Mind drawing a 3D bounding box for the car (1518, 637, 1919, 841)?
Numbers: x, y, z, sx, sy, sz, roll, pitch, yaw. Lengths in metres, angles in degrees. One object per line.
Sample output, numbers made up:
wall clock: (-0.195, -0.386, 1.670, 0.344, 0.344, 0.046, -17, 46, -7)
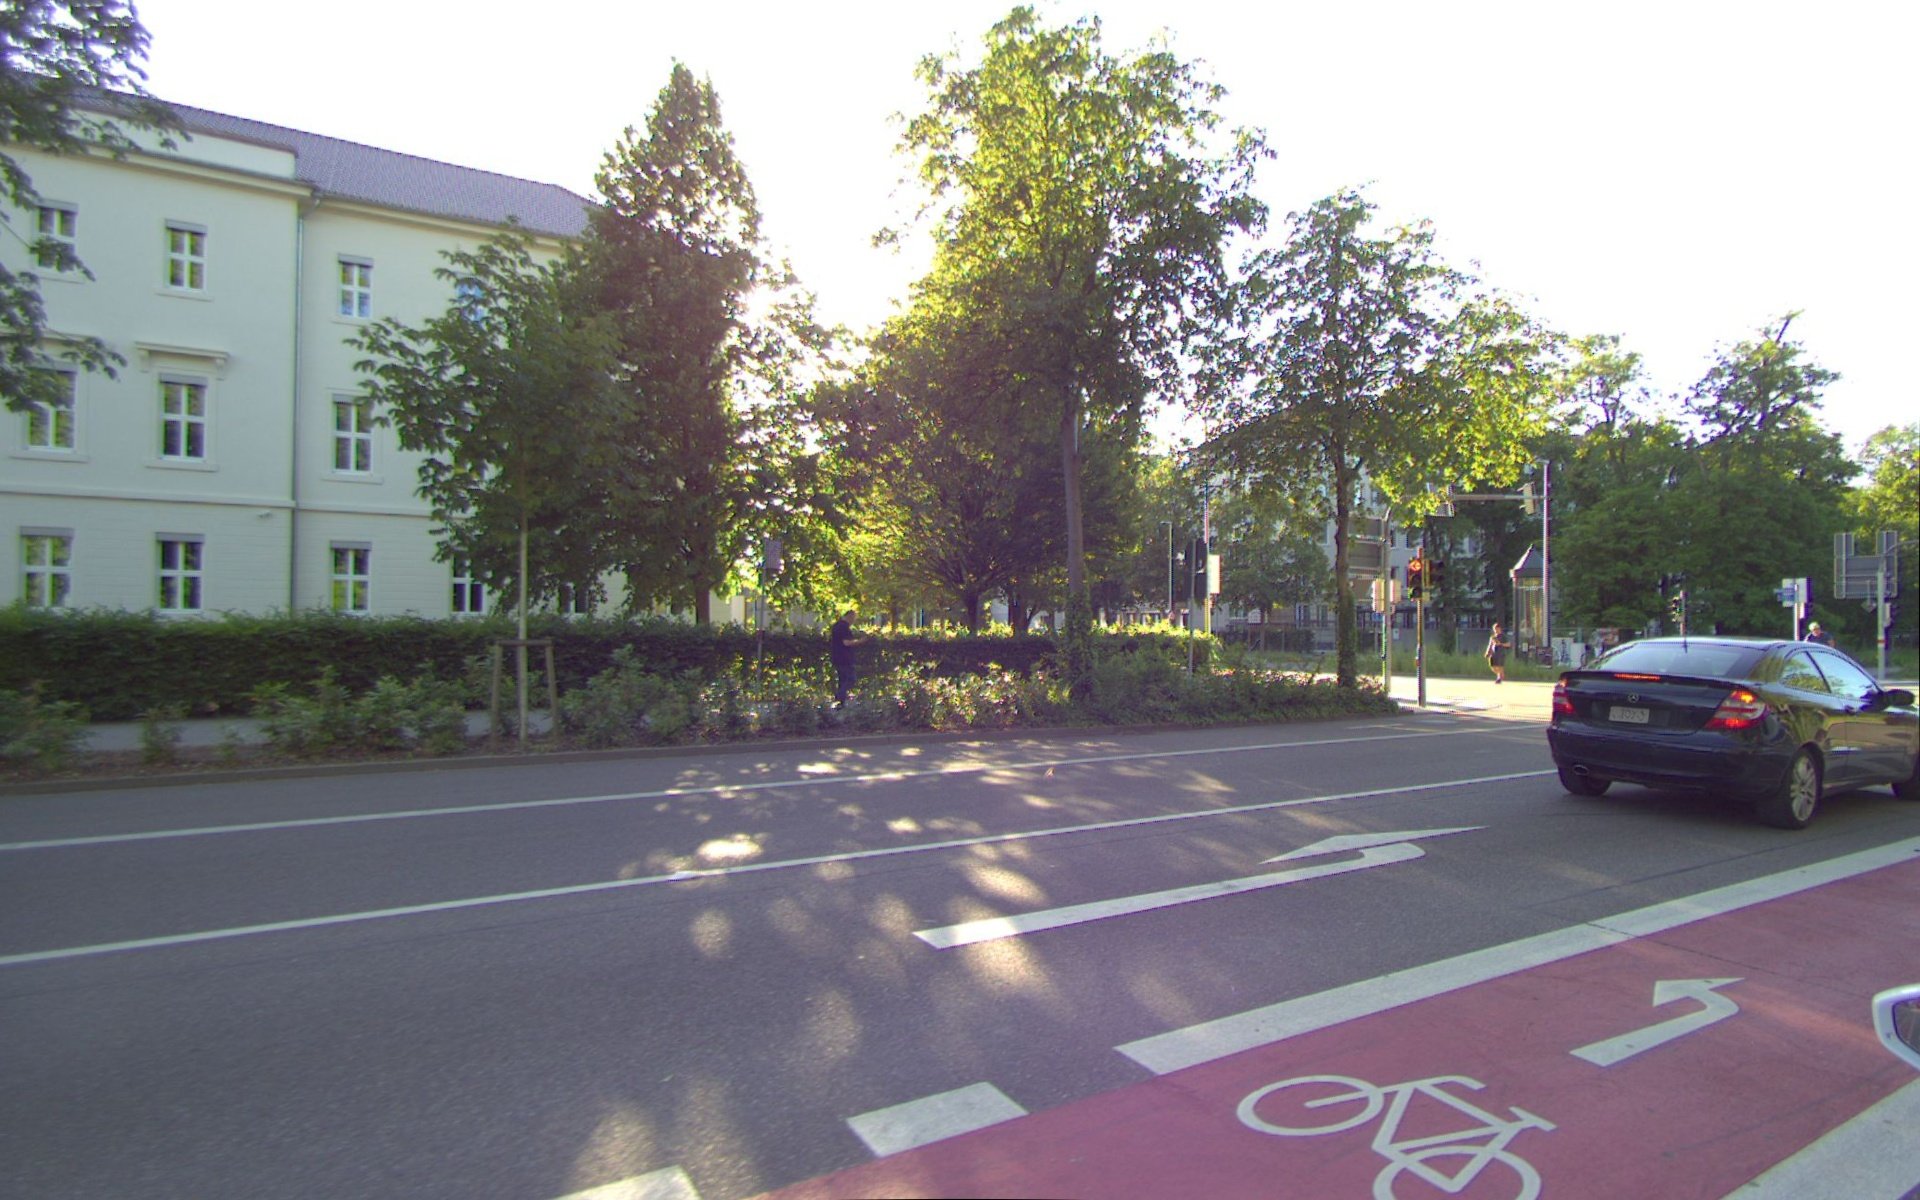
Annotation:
car: (6.981, 1.048, 8.862, 4.214, 1.423, 1.697, 1, -2, -30)

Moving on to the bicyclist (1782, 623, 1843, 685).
bicyclist: (23.013, 1.458, 27.118, 1.173, 1.629, 0.872, 1, -2, -28)

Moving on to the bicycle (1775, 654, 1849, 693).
bicycle: (22.985, 1.965, 27.083, 2.472, 1.002, 0.661, 1, -2, -28)

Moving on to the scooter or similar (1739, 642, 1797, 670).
scooter or similar: (35.241, 2.422, 43.826, 1.882, 1.139, 0.713, 1, -1, 3)

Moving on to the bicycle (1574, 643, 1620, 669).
bicycle: (30.247, 2.641, 47.702, 0.288, 1.163, 1.849, 2, -1, -36)

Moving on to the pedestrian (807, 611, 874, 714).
pedestrian: (-2.108, 1.089, 17.686, 0.956, 1.743, 0.831, 1, -2, -28)

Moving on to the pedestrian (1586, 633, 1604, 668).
pedestrian: (30.021, 2.381, 47.492, 0.442, 1.601, 0.624, 1, -2, -39)

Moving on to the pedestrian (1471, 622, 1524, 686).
pedestrian: (17.466, 1.743, 32.675, 1.175, 2.040, 0.992, 2, -1, -25)

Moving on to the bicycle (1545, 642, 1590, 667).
bicycle: (29.709, 2.666, 49.160, 0.438, 1.163, 1.849, 2, -1, -36)

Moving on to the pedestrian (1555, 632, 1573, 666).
pedestrian: (29.736, 2.404, 49.440, 0.442, 1.664, 0.624, 1, -2, -39)

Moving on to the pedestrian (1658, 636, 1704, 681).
pedestrian: (26.380, 2.136, 36.758, 0.991, 1.624, 1.080, 1, -2, -36)
